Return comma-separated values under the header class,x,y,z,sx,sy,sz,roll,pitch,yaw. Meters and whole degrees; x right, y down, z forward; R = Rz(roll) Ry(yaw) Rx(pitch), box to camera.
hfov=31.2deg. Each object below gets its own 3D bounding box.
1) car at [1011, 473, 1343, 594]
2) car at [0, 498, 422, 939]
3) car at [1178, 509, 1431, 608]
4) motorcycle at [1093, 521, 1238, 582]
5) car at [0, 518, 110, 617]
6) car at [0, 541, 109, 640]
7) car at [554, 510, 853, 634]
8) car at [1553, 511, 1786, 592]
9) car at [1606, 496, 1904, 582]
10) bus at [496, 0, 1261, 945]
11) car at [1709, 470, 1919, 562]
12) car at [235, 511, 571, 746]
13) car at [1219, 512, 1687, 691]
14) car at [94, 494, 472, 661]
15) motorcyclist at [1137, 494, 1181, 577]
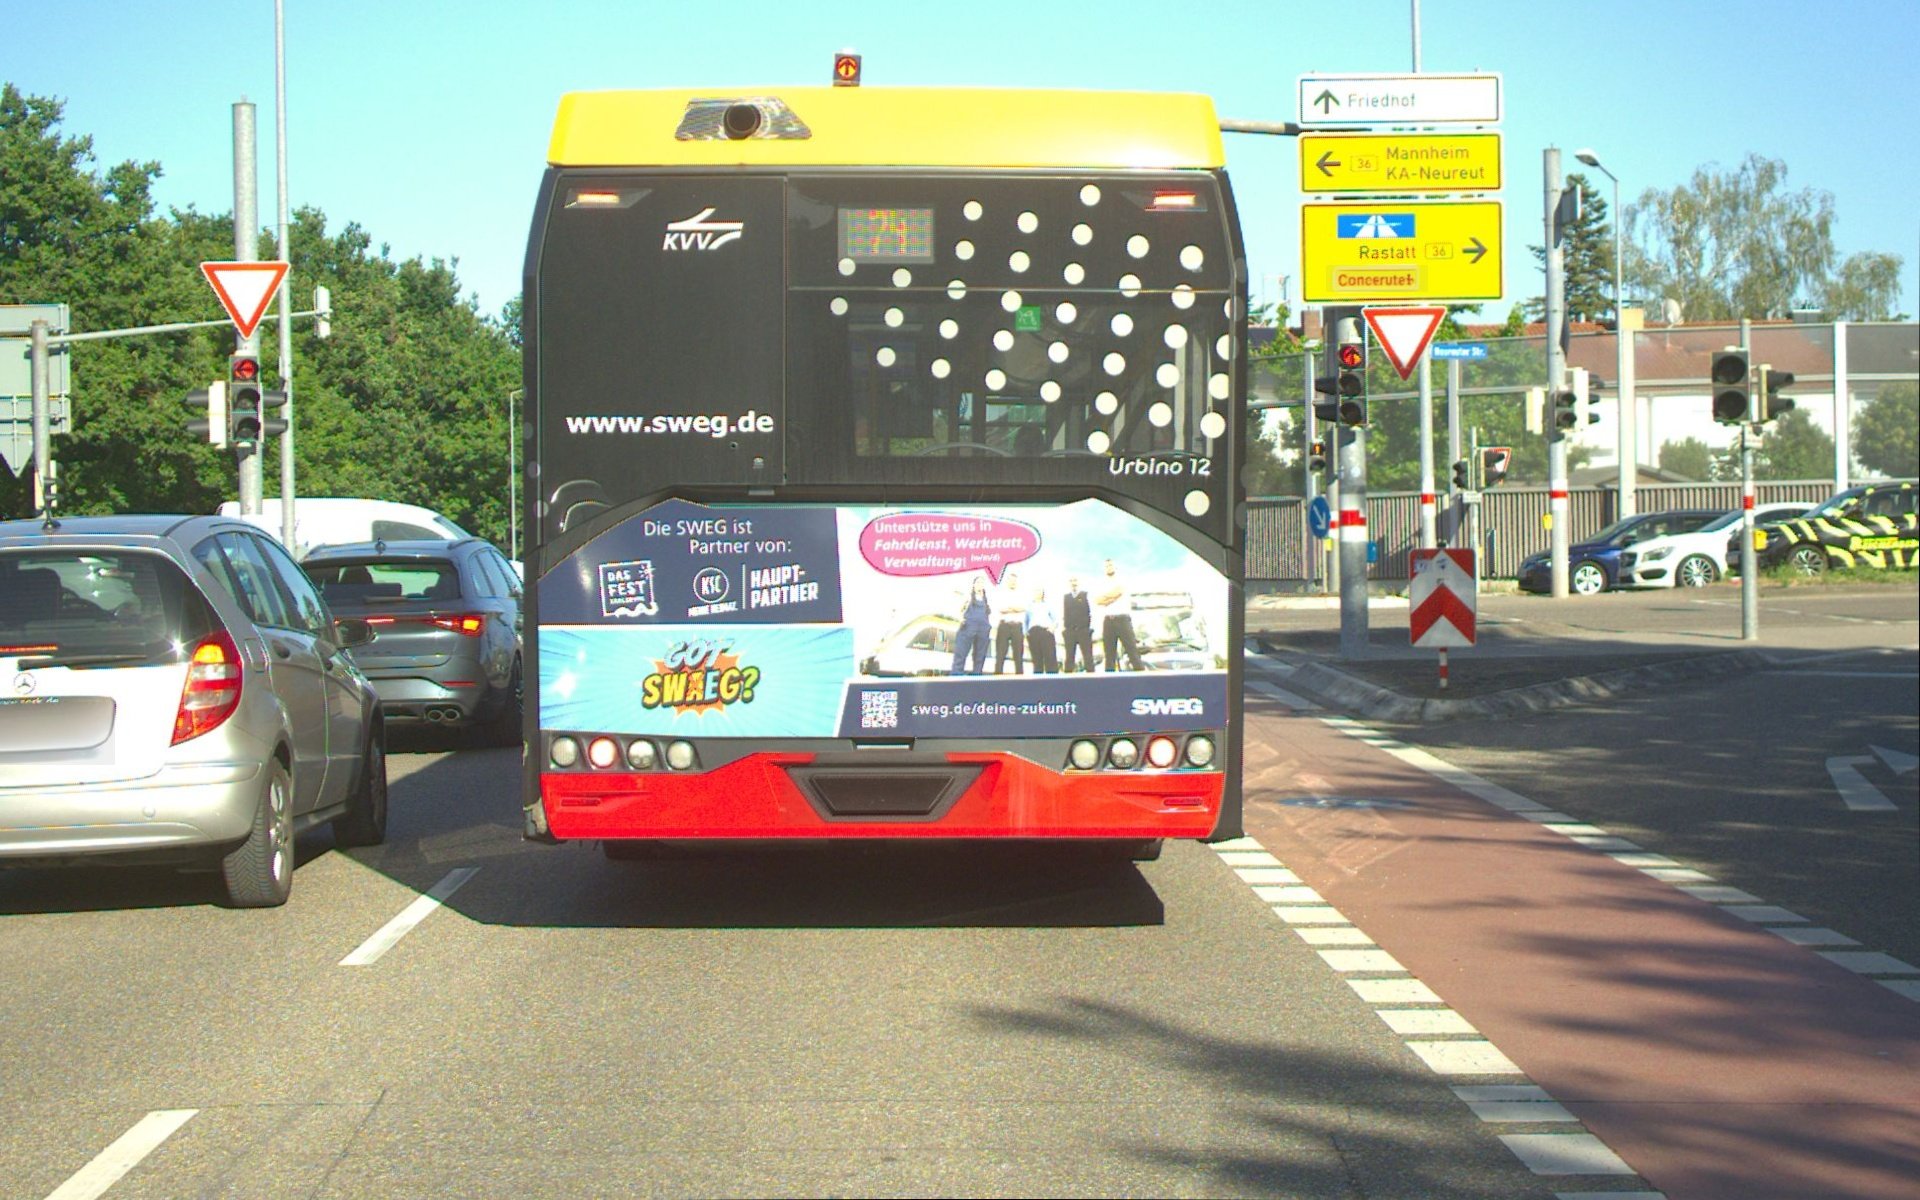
class,x,y,z,sx,sy,sz,roll,pitch,yaw
car,2.870,-0.878,46.016,4.220,1.557,1.764,0,0,-5
car,-3.573,0.396,15.048,1.754,1.614,4.034,-1,2,0
car,5.805,-0.712,58.181,3.986,1.606,1.696,-1,1,-6
motorcycle,3.198,-0.753,53.521,2.189,0.871,0.452,-2,0,-5
car,-14.990,-0.488,51.261,4.412,1.454,1.575,0,0,-12
car,-16.328,-0.155,57.222,3.986,1.606,1.696,-1,1,-6
car,-3.251,-0.353,43.287,3.669,1.480,1.594,-1,0,-6
car,11.807,-0.821,57.328,3.522,1.297,1.575,-1,1,-3
car,12.455,-0.964,53.974,4.288,1.297,1.575,-1,1,-3
bus,-0.342,-0.623,17.751,2.596,3.323,11.984,0,1,-1
car,13.277,-1.212,50.519,4.159,1.298,1.575,0,0,-3
car,-3.782,0.165,23.880,1.588,1.480,3.682,-1,1,2
car,3.864,-0.003,27.057,3.523,1.297,1.574,-1,2,8
car,-7.654,-0.264,39.151,4.110,1.795,1.458,-1,0,-7
motorcyclist,3.102,-1.000,53.513,0.584,1.268,0.427,-2,0,-6
